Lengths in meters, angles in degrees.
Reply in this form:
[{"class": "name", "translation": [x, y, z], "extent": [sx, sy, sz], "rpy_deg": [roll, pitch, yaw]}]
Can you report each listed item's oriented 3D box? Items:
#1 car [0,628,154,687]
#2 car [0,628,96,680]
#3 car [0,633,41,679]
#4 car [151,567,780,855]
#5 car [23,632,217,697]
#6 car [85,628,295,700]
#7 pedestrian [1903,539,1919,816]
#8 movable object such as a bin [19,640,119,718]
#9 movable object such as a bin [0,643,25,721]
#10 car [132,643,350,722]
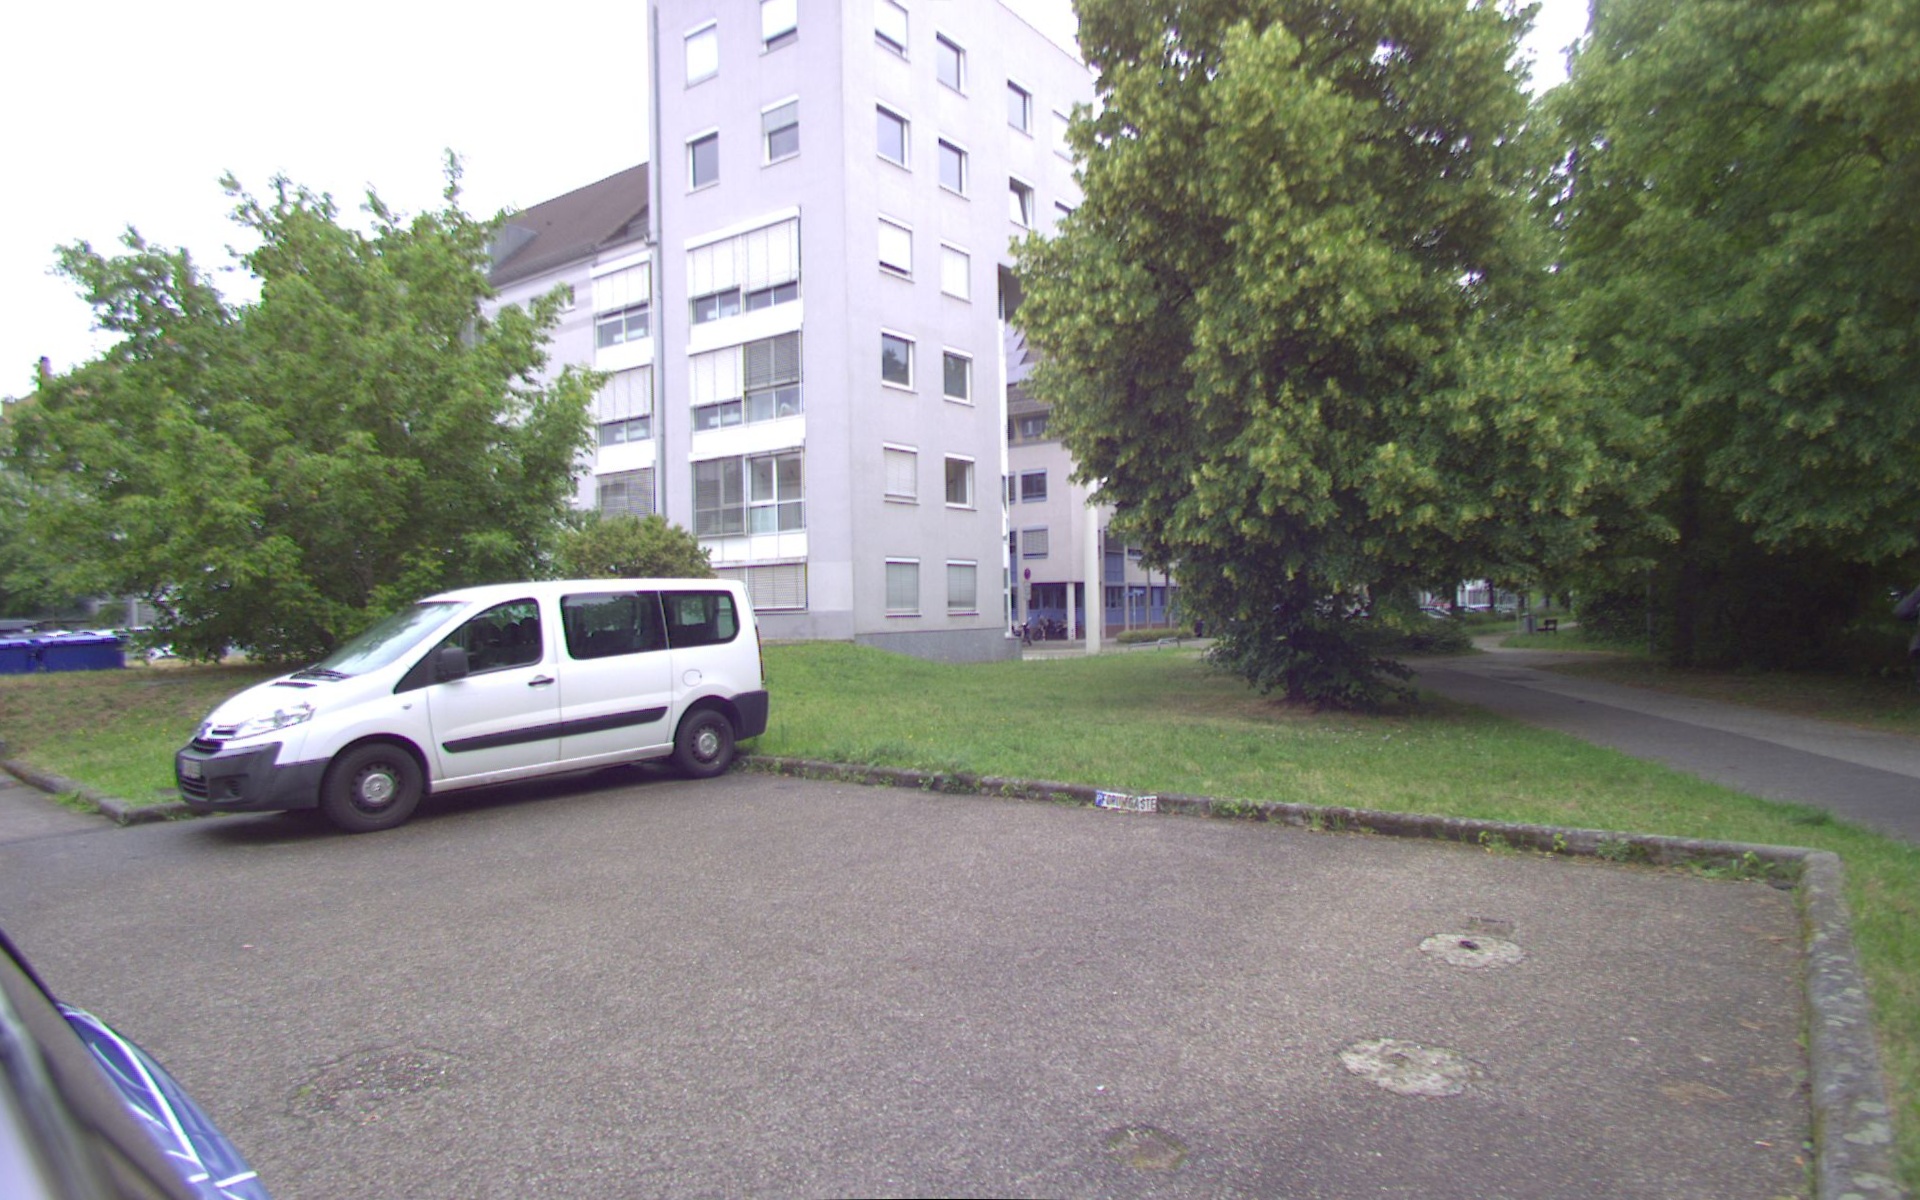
[{"class": "car", "translation": [-29.864, 1.864, 33.761], "extent": [1.994, 1.748, 4.293], "rpy_deg": [-1, -1, 33]}, {"class": "car", "translation": [-33.901, 1.916, 36.103], "extent": [1.994, 1.748, 4.293], "rpy_deg": [-1, -1, 33]}, {"class": "car", "translation": [-38.705, 2.207, 39.154], "extent": [1.994, 1.748, 4.293], "rpy_deg": [-1, -1, 33]}, {"class": "car", "translation": [-4.090, 0.798, 9.091], "extent": [1.900, 1.887, 4.709], "rpy_deg": [-5, -3, 40]}, {"class": "car", "translation": [-26.127, 1.934, 31.611], "extent": [1.994, 1.748, 4.293], "rpy_deg": [-1, -1, 33]}, {"class": "car", "translation": [-21.542, 1.721, 28.480], "extent": [1.994, 1.748, 4.293], "rpy_deg": [-1, -1, 33]}, {"class": "pedestrian", "translation": [6.521, 0.488, 6.465], "extent": [0.681, 1.762, 0.612], "rpy_deg": [-2, -1, 43]}, {"class": "movable object such as a bin", "translation": [-16.436, 1.432, 18.675], "extent": [1.226, 1.317, 1.166], "rpy_deg": [-3, -1, 38]}, {"class": "movable object such as a bin", "translation": [-17.169, 1.442, 17.577], "extent": [1.226, 1.317, 1.166], "rpy_deg": [-3, -1, 38]}, {"class": "car", "translation": [-18.898, 2.084, 26.787], "extent": [1.994, 1.748, 4.293], "rpy_deg": [-1, -1, 33]}]
